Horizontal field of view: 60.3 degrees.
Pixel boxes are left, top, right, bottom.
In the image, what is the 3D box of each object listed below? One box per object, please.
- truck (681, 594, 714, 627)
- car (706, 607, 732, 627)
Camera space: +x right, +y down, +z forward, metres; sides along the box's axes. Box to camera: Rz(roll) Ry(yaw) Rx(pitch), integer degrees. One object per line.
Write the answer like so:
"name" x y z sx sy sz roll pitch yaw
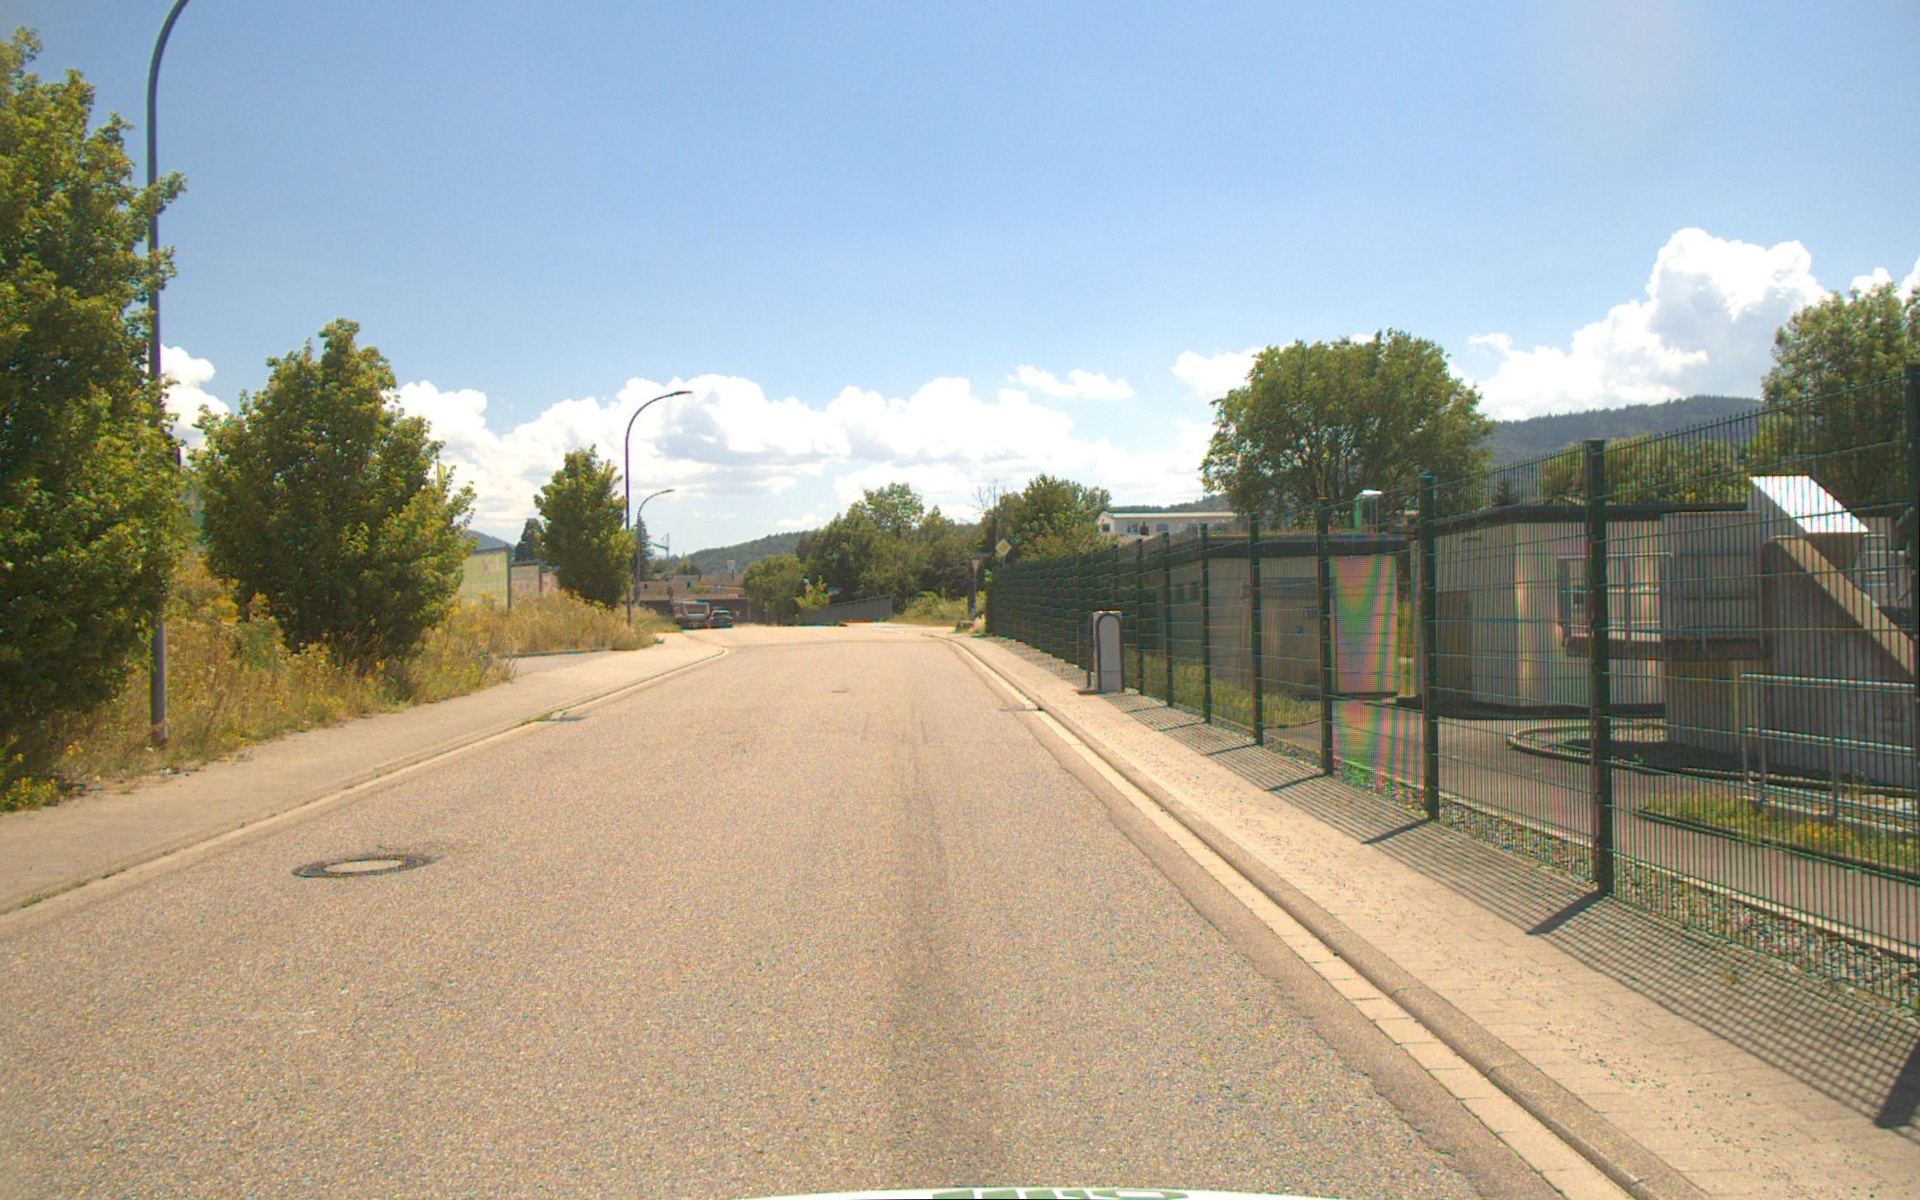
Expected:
"truck" -23.991 0.925 151.070 2.636 2.821 6.070 0 1 -13
"car" -18.563 1.274 127.143 1.745 1.473 3.441 0 1 -13
